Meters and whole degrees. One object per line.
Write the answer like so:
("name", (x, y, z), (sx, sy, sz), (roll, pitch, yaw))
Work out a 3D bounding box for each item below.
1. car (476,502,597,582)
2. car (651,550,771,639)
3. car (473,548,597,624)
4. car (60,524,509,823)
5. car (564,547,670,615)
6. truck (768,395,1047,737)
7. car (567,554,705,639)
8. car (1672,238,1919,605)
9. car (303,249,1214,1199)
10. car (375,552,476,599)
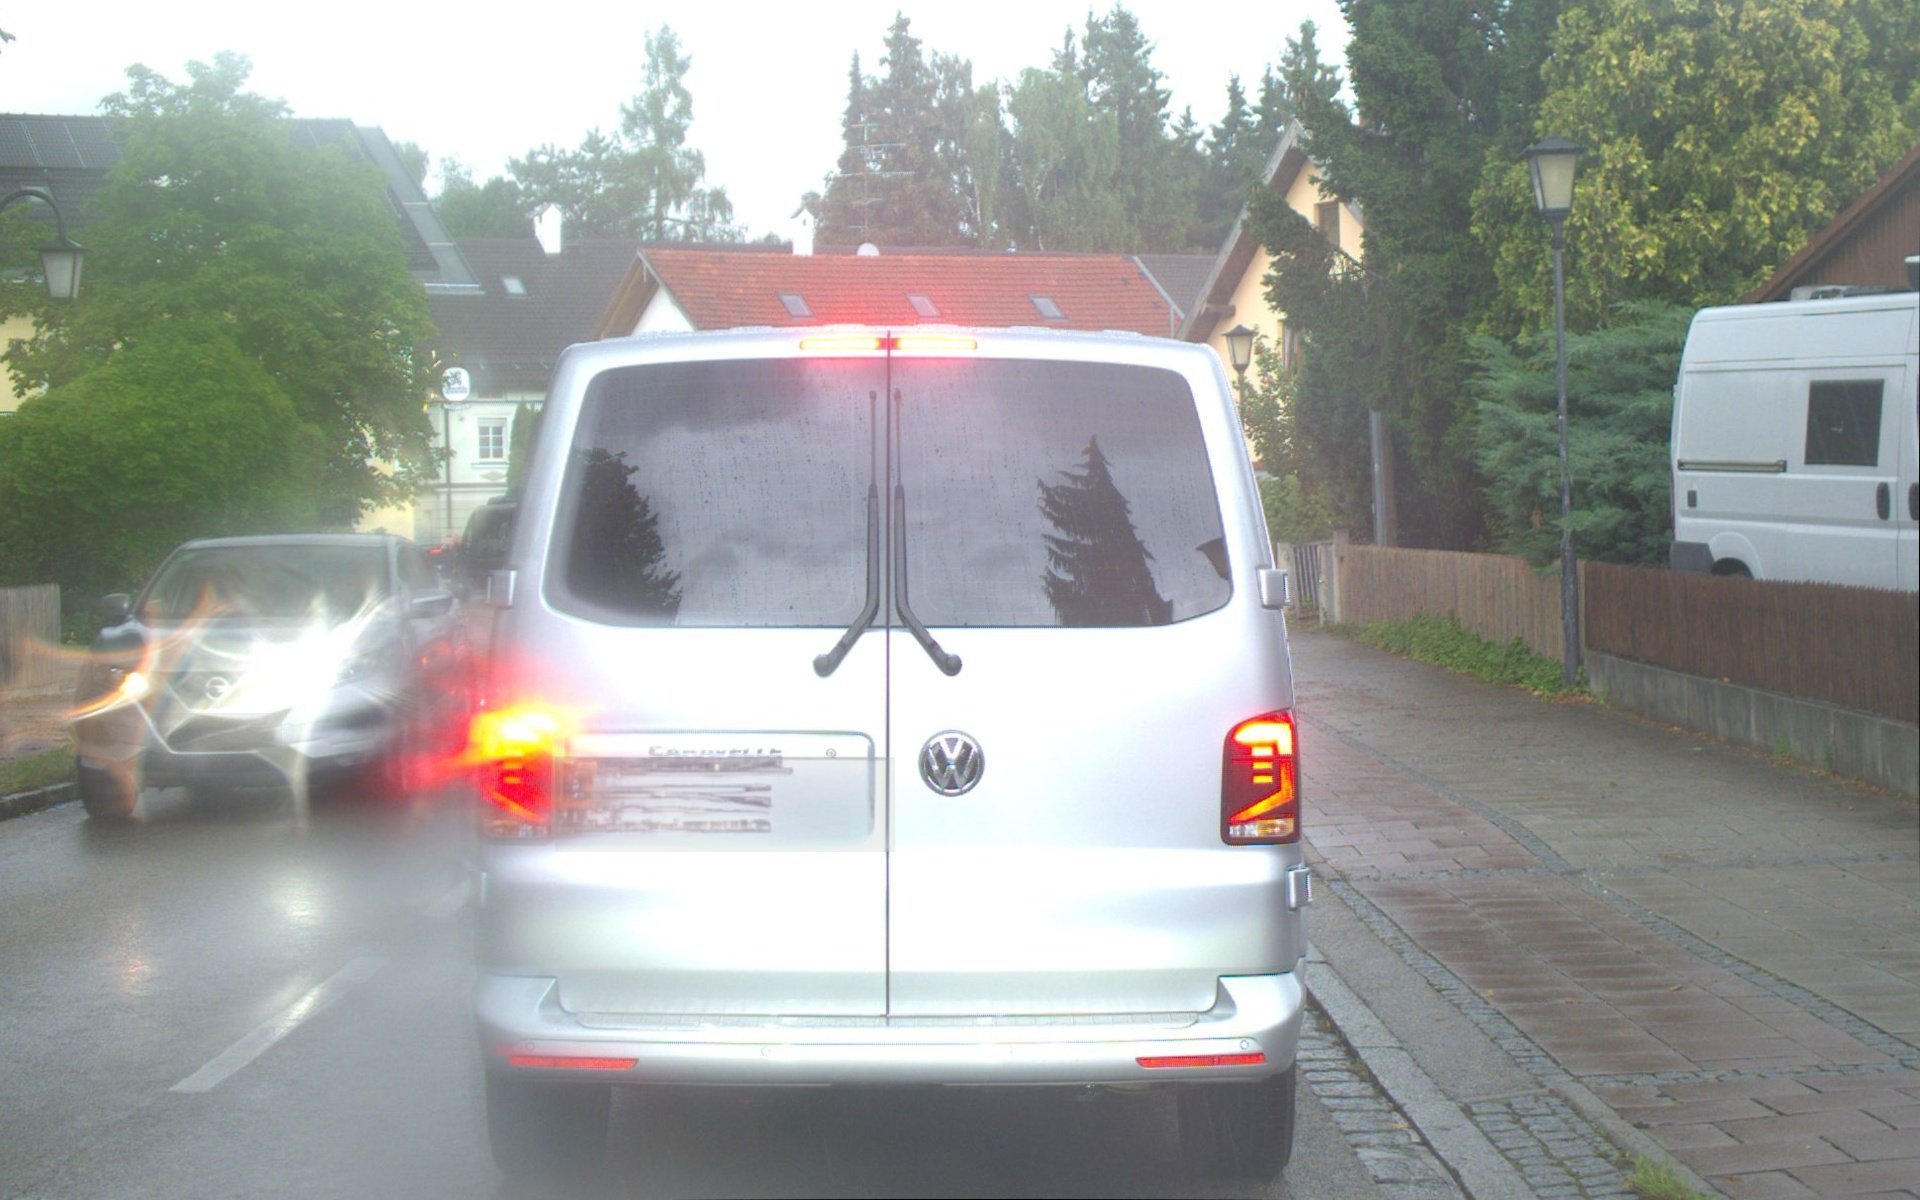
("car", (-11.125, -1.502, 90.103), (1.993, 2.007, 4.001), (1, 0, -24))
("car", (-3.884, -0.091, 53.709), (1.780, 1.306, 3.776), (1, 0, -4))
("car", (-11.134, -0.375, 89.935), (1.993, 1.920, 4.001), (1, 0, -26))
("car", (-3.838, 0.380, 20.230), (1.827, 1.553, 4.177), (-1, 0, 0))
("car", (-7.036, -0.390, 70.209), (1.779, 1.306, 3.777), (1, 0, -11))
("truck", (-0.519, -0.325, 34.440), (2.475, 3.063, 6.296), (1, 0, -1))
("car", (-8.005, -0.099, 84.704), (1.993, 2.007, 4.001), (1, 0, -27))
("car", (6.441, -1.045, 21.303), (1.993, 2.166, 4.954), (1, 0, -14))
("car", (-0.340, 0.305, 8.931), (1.801, 2.007, 4.000), (1, 0, 2))
("car", (-15.625, -0.736, 100.386), (1.780, 1.306, 3.776), (1, 0, -28))
